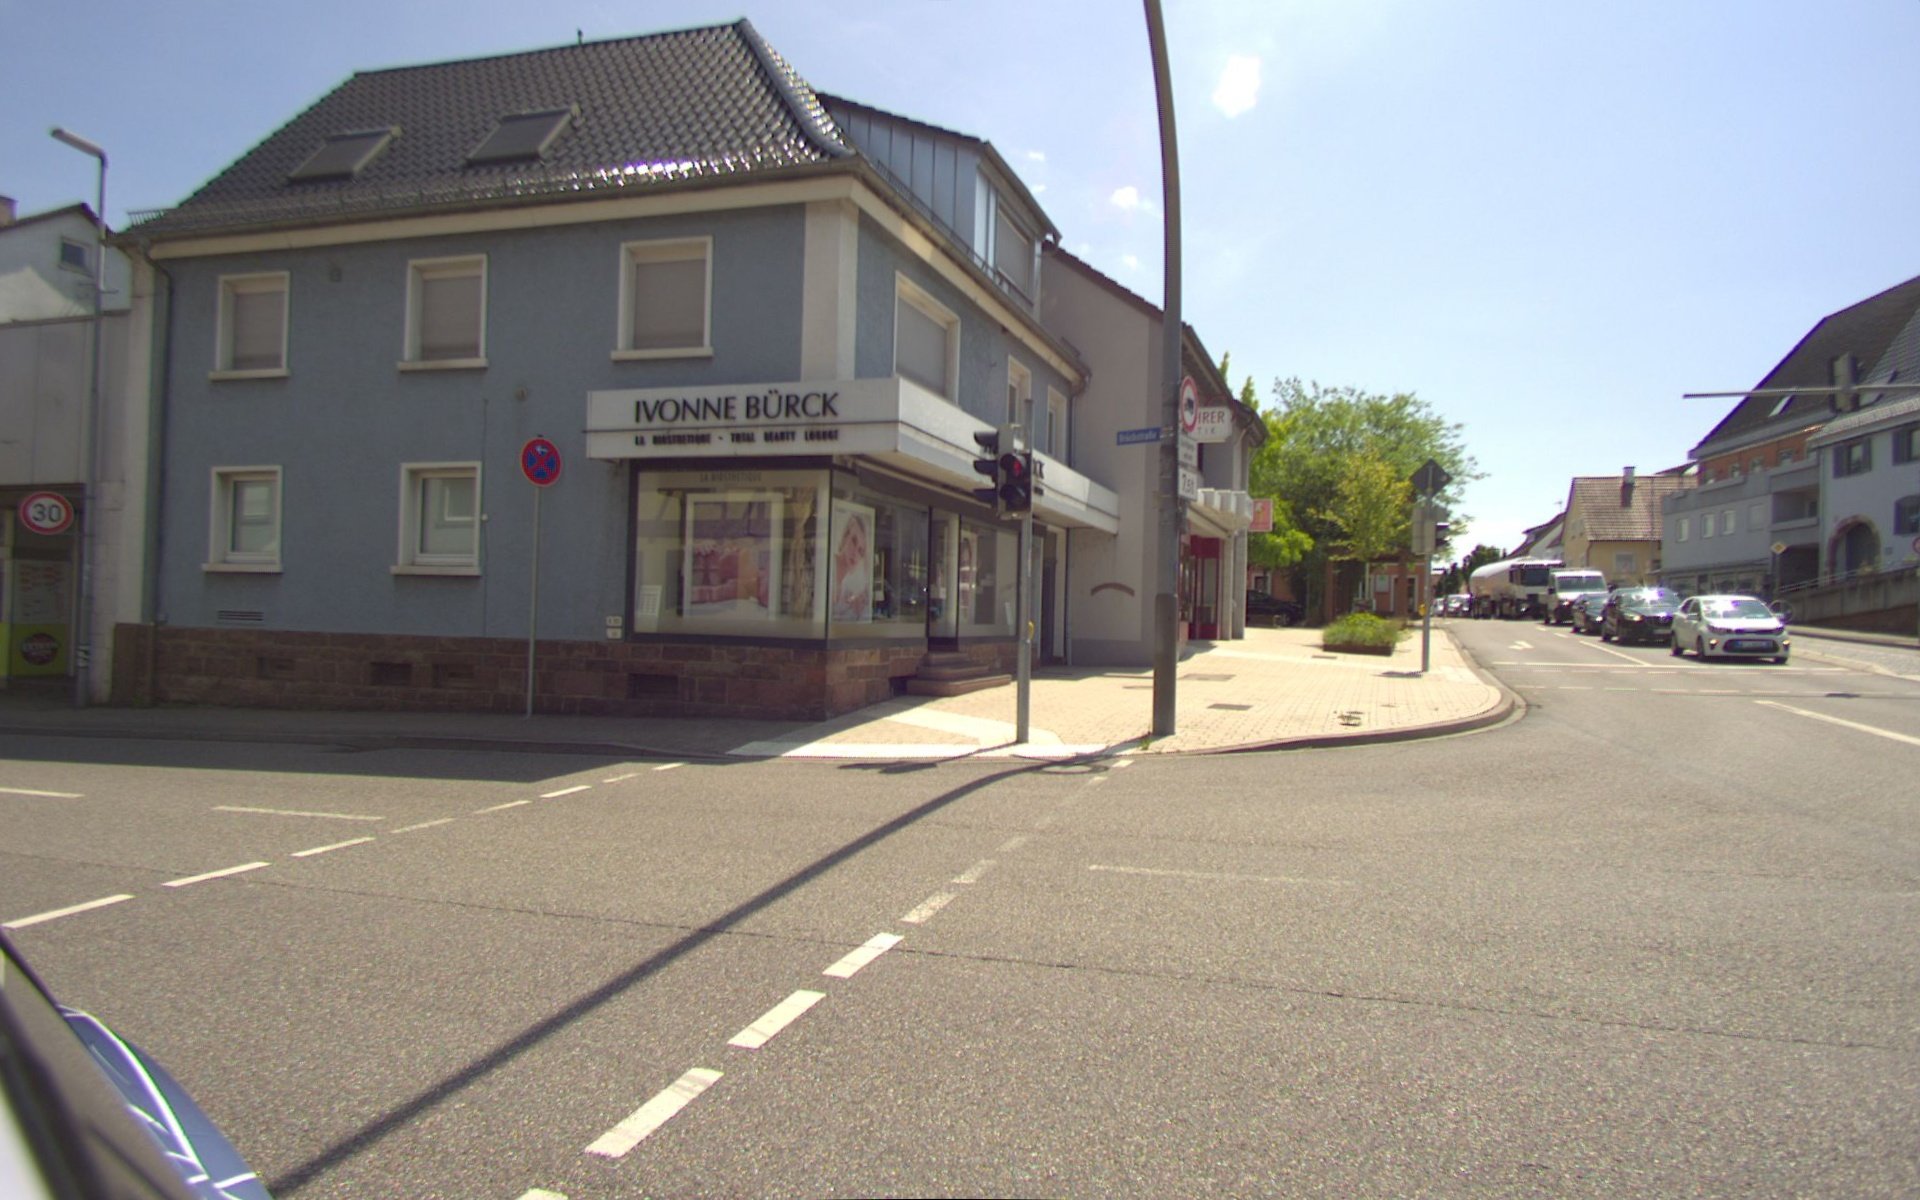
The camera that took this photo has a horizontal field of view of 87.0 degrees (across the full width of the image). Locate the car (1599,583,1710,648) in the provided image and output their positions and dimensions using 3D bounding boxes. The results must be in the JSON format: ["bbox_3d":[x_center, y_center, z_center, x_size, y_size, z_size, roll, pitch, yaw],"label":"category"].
[{"bbox_3d":[20.015,0.413,29.350,1.852,1.727,3.969,-1,0,23],"label":"car"}]

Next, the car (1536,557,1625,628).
[{"bbox_3d":[27.037,-0.317,44.338,2.290,2.843,6.455,-1,0,23],"label":"car"}]

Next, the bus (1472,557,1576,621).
[{"bbox_3d":[31.288,-0.580,56.758,2.526,3.193,12.579,-1,0,17],"label":"bus"}]

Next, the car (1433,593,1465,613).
[{"bbox_3d":[40.802,0.248,84.593,1.985,1.648,3.973,-1,0,20],"label":"car"}]

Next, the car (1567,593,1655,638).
[{"bbox_3d":[22.807,0.509,35.583,1.852,1.490,3.970,-1,0,22],"label":"car"}]

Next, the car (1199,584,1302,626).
[{"bbox_3d":[12.378,0.221,43.115,3.978,1.691,1.983,-1,-1,26],"label":"car"}]

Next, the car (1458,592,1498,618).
[{"bbox_3d":[36.145,0.341,70.725,1.985,1.648,3.973,-1,1,20],"label":"car"}]

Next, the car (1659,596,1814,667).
[{"bbox_3d":[18.064,0.683,23.761,1.852,1.490,3.970,-1,0,22],"label":"car"}]

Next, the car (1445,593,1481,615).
[{"bbox_3d":[38.447,0.298,77.444,1.985,1.648,3.974,-1,0,20],"label":"car"}]
